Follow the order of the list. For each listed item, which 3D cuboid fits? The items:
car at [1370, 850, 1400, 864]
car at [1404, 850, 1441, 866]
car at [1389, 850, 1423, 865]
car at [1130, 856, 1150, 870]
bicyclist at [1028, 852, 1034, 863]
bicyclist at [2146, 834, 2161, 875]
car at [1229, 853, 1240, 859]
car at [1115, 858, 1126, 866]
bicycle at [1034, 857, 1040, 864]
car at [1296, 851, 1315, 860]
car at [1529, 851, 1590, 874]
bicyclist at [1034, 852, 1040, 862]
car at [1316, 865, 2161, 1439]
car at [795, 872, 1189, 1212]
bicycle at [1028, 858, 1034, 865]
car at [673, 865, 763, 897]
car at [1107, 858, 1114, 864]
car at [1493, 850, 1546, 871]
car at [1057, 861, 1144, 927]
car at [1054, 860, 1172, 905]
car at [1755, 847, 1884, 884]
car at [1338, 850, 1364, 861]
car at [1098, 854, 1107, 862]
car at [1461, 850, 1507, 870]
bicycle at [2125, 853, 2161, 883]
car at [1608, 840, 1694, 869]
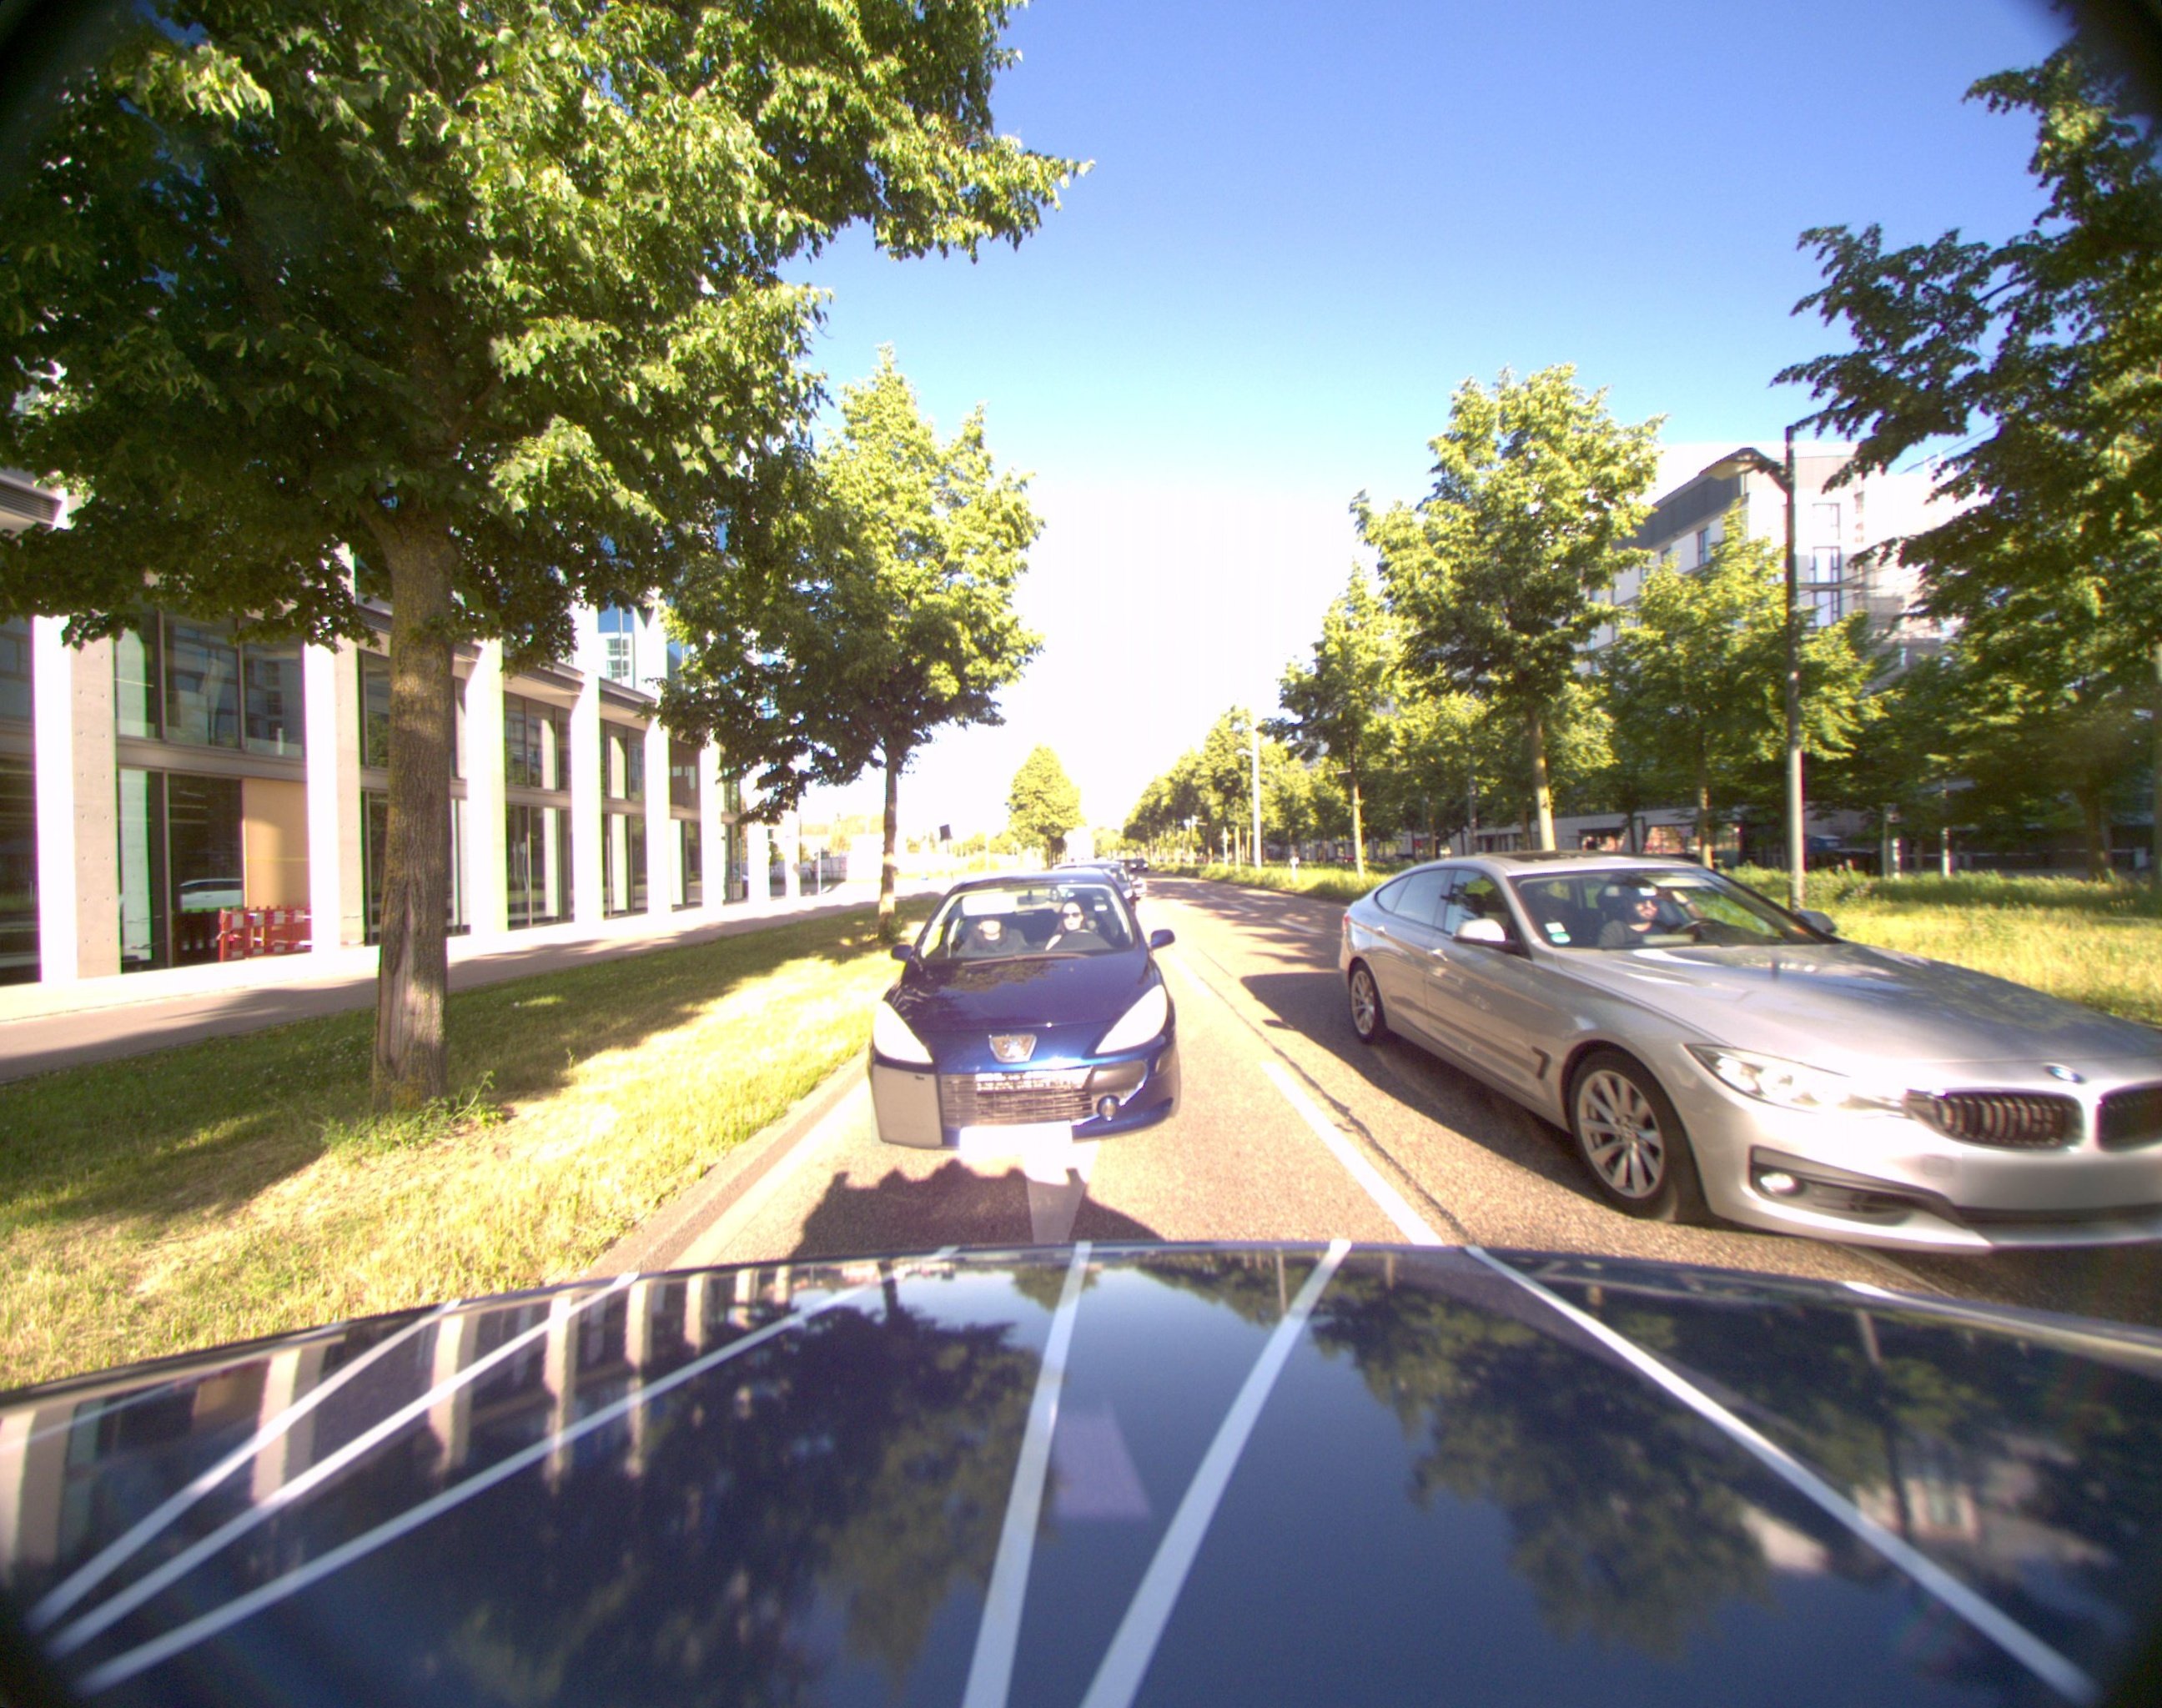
[{"bbox_3d":[35.502,0.306,88.916,1.884,1.588,4.184,-1,0,1],"label":"car"},{"bbox_3d":[35.032,0.418,78.087,1.884,1.588,4.184,-1,0,1],"label":"car"},{"bbox_3d":[35.444,0.355,82.995,1.884,1.588,4.184,-1,0,1],"label":"car"},{"bbox_3d":[6.441,0.983,82.930,1.861,1.482,4.000,-1,0,1],"label":"car"},{"bbox_3d":[-9.713,0.668,147.910,0.931,2.045,1.121,-1,1,1],"label":"bicyclist"},{"bbox_3d":[37.479,0.022,26.165,0.478,1.416,0.820,-1,1,1],"label":"bicyclist"},{"bbox_3d":[36.113,0.450,179.124,1.998,1.387,4.001,-1,0,4],"label":"car"},{"bbox_3d":[6.844,1.364,132.257,1.878,1.415,4.344,-1,0,2],"label":"car"},{"bbox_3d":[-8.525,1.318,148.206,0.931,1.354,4.000,-1,0,1],"label":"bicycle"},{"bbox_3d":[36.610,0.221,124.045,1.998,1.387,4.000,-1,0,1],"label":"car"},{"bbox_3d":[34.905,0.599,55.580,1.884,1.588,4.184,-1,0,1],"label":"car"},{"bbox_3d":[-8.545,0.594,148.111,0.931,2.045,1.121,-1,1,1],"label":"bicyclist"},{"bbox_3d":[2.982,0.859,4.380,1.824,1.476,4.561,-1,0,0],"label":"car"},{"bbox_3d":[-0.396,0.956,5.873,1.846,1.473,4.482,-2,0,1],"label":"car"},{"bbox_3d":[-9.705,1.394,147.898,0.931,1.354,4.000,-1,0,1],"label":"bicycle"},{"bbox_3d":[-20.040,1.478,42.037,3.996,1.569,2.000,-1,0,3],"label":"car"},{"bbox_3d":[7.502,1.811,193.795,1.878,1.577,4.344,-1,0,2],"label":"car"},{"bbox_3d":[35.190,0.539,61.122,1.884,1.588,4.184,-1,0,1],"label":"car"},{"bbox_3d":[0.483,0.957,19.917,1.998,1.437,4.622,-1,0,1],"label":"car"},{"bbox_3d":[1.060,0.963,27.336,1.808,1.439,4.557,-2,0,-35],"label":"car"},{"bbox_3d":[34.085,0.500,35.241,1.951,1.588,4.184,-1,0,1],"label":"car"},{"bbox_3d":[36.087,0.236,101.660,1.999,1.387,4.000,-1,0,-1],"label":"car"},{"bbox_3d":[4.348,0.805,155.901,1.724,1.516,4.000,-1,0,1],"label":"car"},{"bbox_3d":[35.156,0.500,66.405,1.884,1.588,4.184,-1,0,1],"label":"car"},{"bbox_3d":[37.488,0.474,26.240,0.478,1.029,1.756,-1,0,1],"label":"bicycle"},{"bbox_3d":[33.663,0.036,45.025,1.951,1.588,4.184,-1,0,1],"label":"car"}]
